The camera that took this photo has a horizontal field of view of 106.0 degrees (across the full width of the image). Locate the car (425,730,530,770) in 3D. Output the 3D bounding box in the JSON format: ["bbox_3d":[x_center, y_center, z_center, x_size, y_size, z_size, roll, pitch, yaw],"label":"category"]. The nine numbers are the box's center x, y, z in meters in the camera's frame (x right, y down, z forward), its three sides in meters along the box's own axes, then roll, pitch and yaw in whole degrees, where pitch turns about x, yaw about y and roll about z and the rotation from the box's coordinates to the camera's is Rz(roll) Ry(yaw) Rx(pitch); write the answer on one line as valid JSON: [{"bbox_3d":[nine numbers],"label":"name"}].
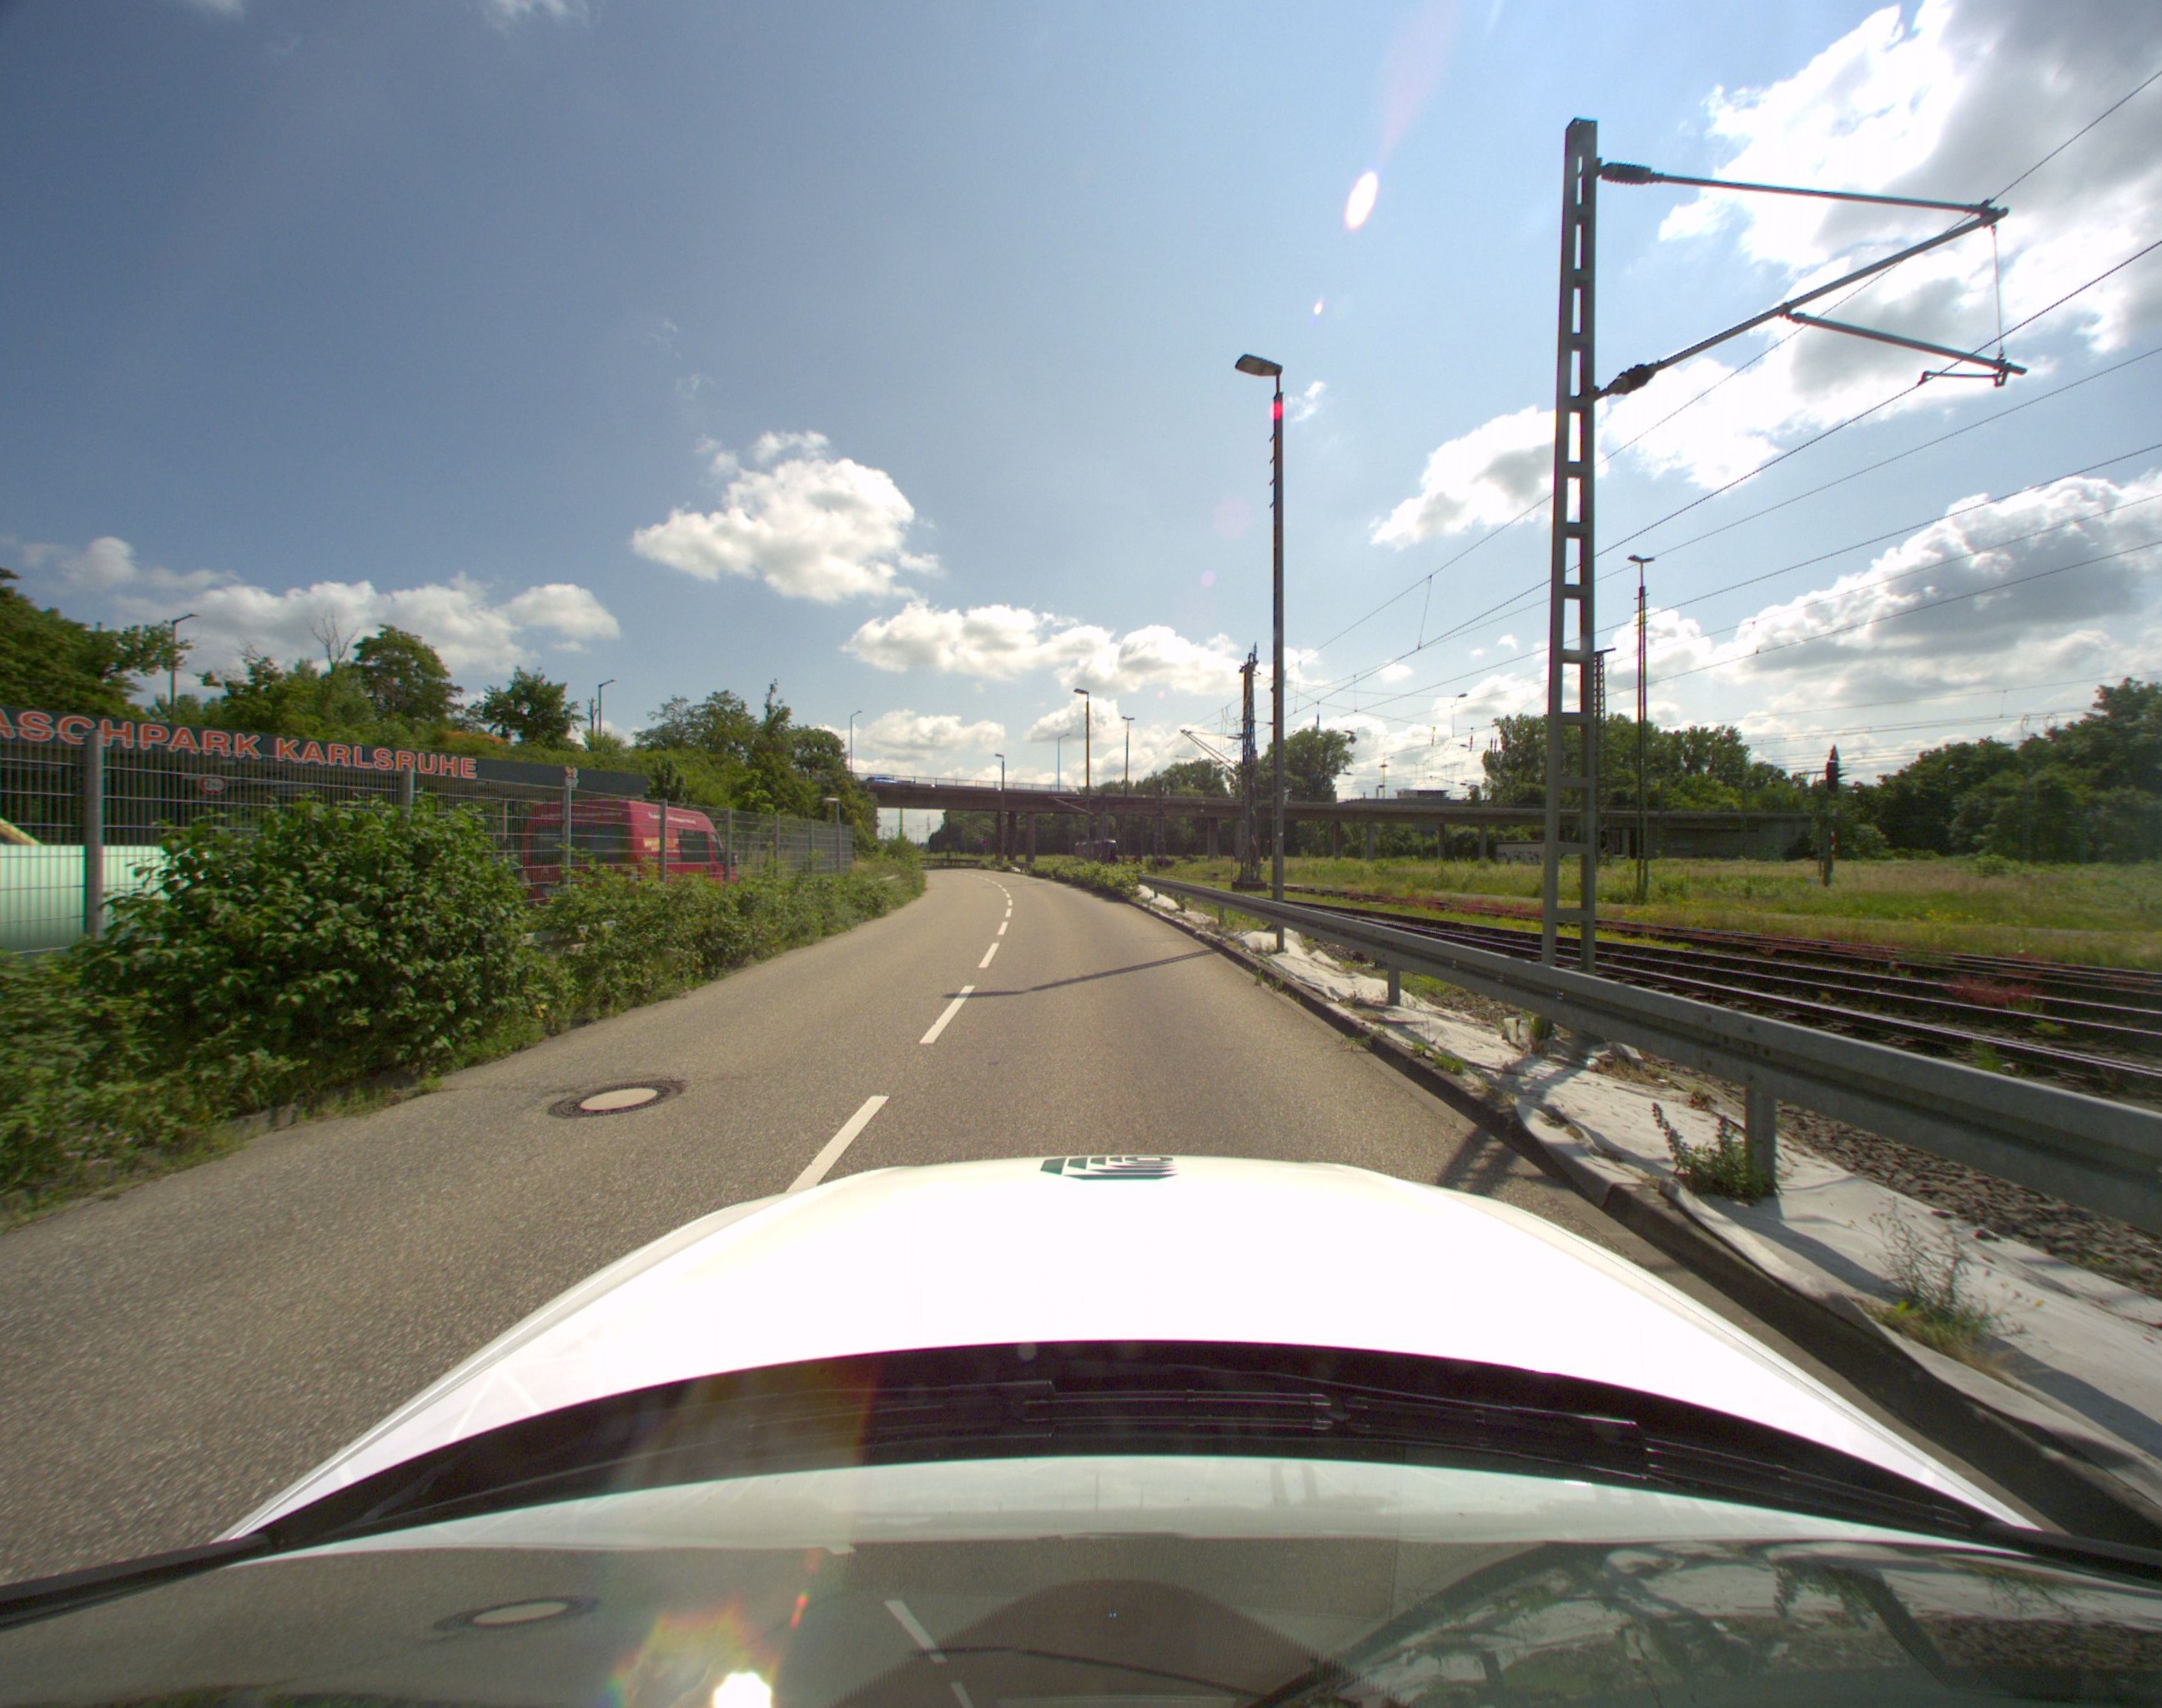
[{"bbox_3d":[-41.039,-7.018,55.520,1.974,2.014,5.371,-3,-1,37],"label":"car"}]

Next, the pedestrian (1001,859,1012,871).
[{"bbox_3d":[-9.509,1.408,103.490,1.112,1.540,1.571,0,-1,-15],"label":"pedestrian"}]

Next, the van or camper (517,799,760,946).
[{"bbox_3d":[-8.951,0.326,17.258,2.183,2.514,5.695,-2,0,-3],"label":"van or camper"}]

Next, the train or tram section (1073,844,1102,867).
[{"bbox_3d":[0.878,0.305,124.982,2.758,3.477,8.203,0,-1,-12],"label":"train or tram section"}]

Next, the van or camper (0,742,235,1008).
[{"bbox_3d":[-11.347,0.184,6.651,2.223,2.425,5.688,-1,-1,21],"label":"van or camper"}]

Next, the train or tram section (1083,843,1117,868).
[{"bbox_3d":[2.623,0.276,116.729,2.893,3.509,8.528,0,-1,-12],"label":"train or tram section"}]
